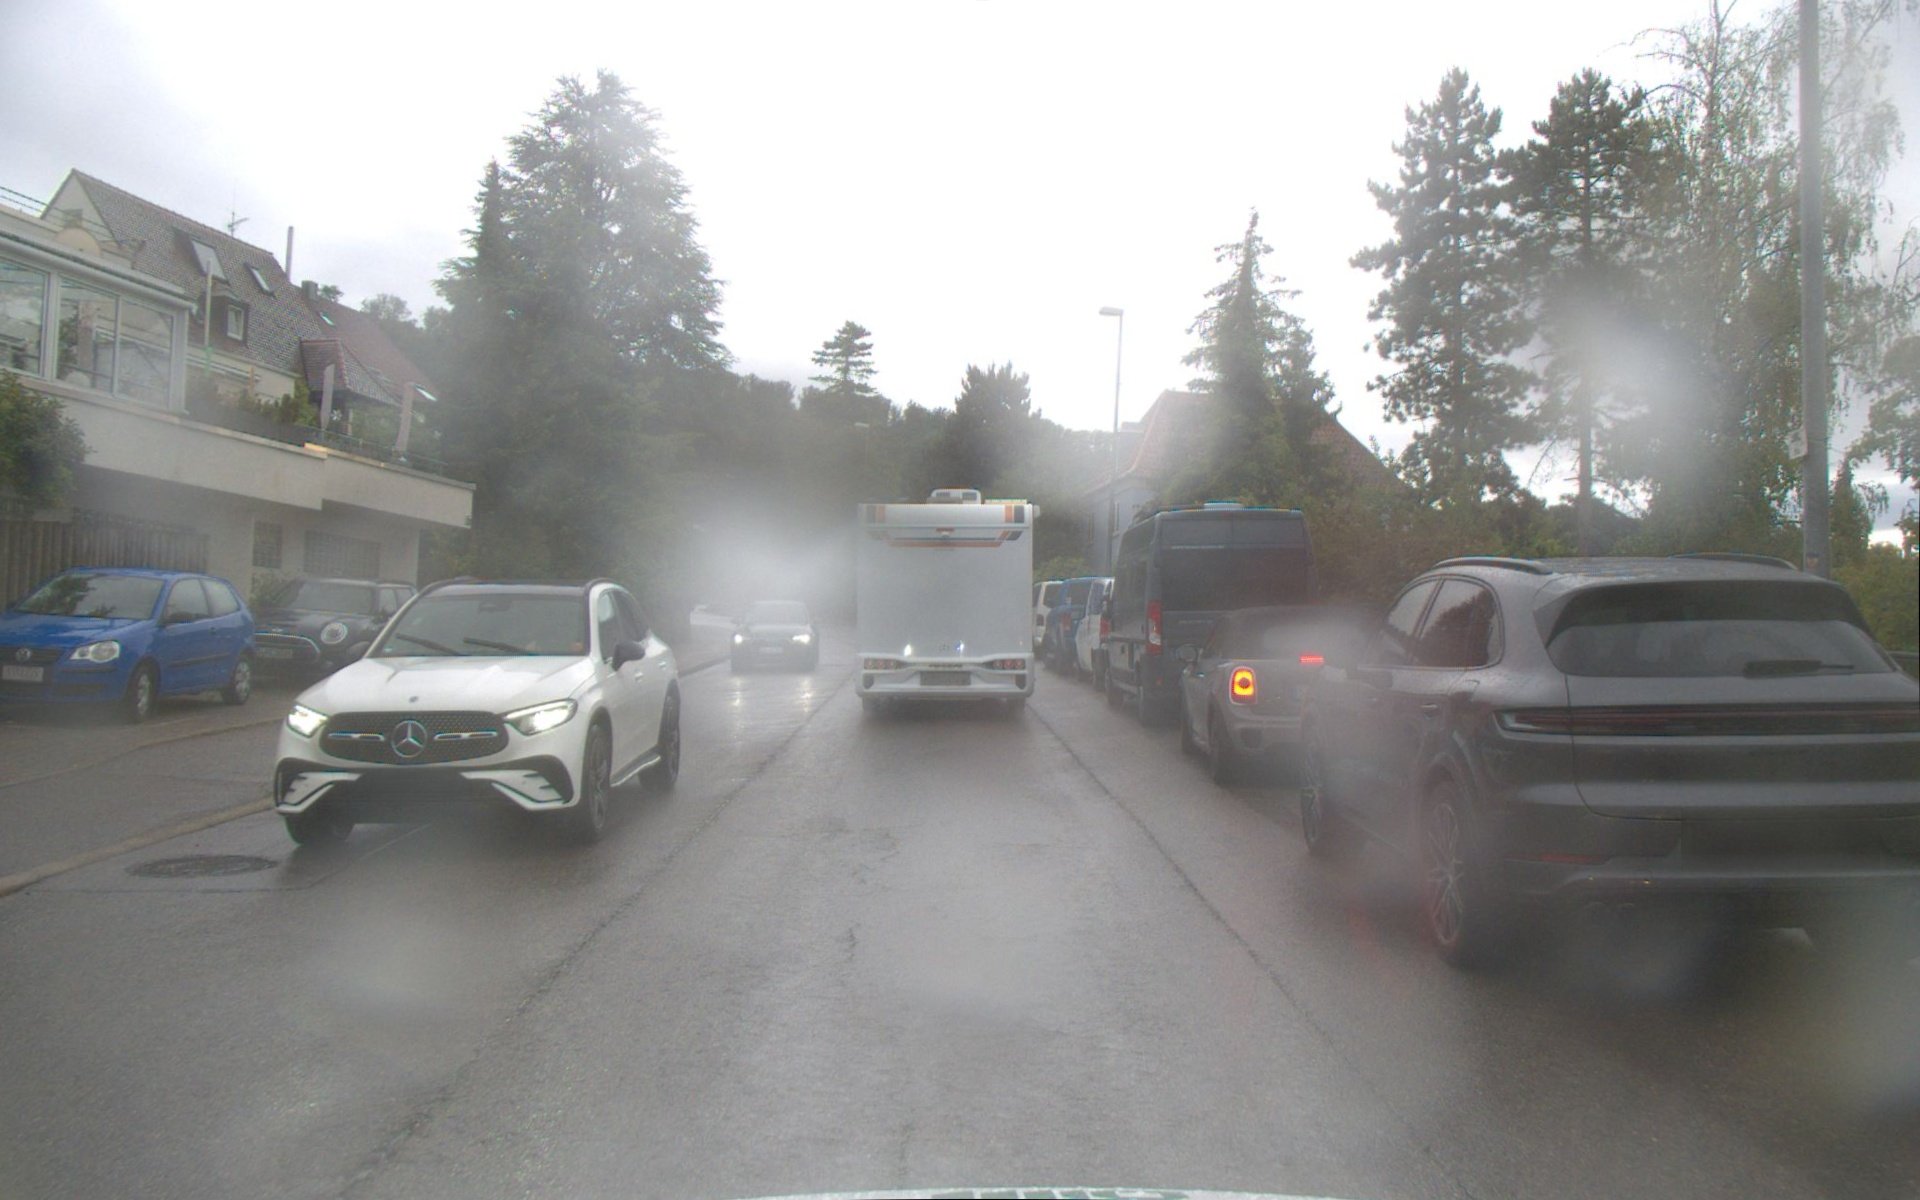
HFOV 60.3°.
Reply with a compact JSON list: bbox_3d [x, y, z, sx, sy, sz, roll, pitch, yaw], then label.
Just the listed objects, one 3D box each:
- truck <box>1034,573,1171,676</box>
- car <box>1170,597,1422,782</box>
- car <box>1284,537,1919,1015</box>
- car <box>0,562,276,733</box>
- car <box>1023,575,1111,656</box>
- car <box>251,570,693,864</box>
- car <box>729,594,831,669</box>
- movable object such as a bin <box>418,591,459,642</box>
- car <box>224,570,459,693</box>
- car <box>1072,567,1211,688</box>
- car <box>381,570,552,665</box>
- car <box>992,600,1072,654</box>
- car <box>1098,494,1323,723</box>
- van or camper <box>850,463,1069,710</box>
[{"bbox_3d":[2.884,0.459,34.998,2.071,1.884,6.616,2,0,-2],"label":"truck"},{"bbox_3d":[2.887,0.703,14.933,1.556,1.454,3.798,0,0,1],"label":"car"},{"bbox_3d":[2.996,0.625,8.249,1.896,1.701,4.695,0,0,1],"label":"car"},{"bbox_3d":[-8.692,0.405,17.129,1.575,1.459,3.958,4,0,-2],"label":"car"},{"bbox_3d":[2.758,0.379,43.691,1.822,1.955,5.078,1,0,-2],"label":"car"},{"bbox_3d":[-3.070,0.643,11.402,1.762,1.594,4.383,1,0,-1],"label":"car"},{"bbox_3d":[-3.864,0.640,36.125,1.738,1.462,4.361,-2,0,-1],"label":"car"},{"bbox_3d":[-11.318,0.365,35.893,0.565,1.074,0.684,2,0,11],"label":"movable object such as a bin"},{"bbox_3d":[-8.413,0.399,22.906,1.600,1.420,4.238,4,0,-1],"label":"car"},{"bbox_3d":[3.021,0.427,28.506,1.790,1.874,5.269,0,0,0],"label":"car"},{"bbox_3d":[-9.040,0.294,30.702,1.738,1.462,4.587,5,0,-1],"label":"car"},{"bbox_3d":[2.099,0.761,49.304,1.654,1.482,4.050,2,0,-8],"label":"car"},{"bbox_3d":[3.038,0.089,21.414,1.989,2.549,5.955,0,0,0],"label":"car"},{"bbox_3d":[-0.021,-0.082,23.006,2.562,2.903,6.029,2,-2,0],"label":"van or camper"}]
